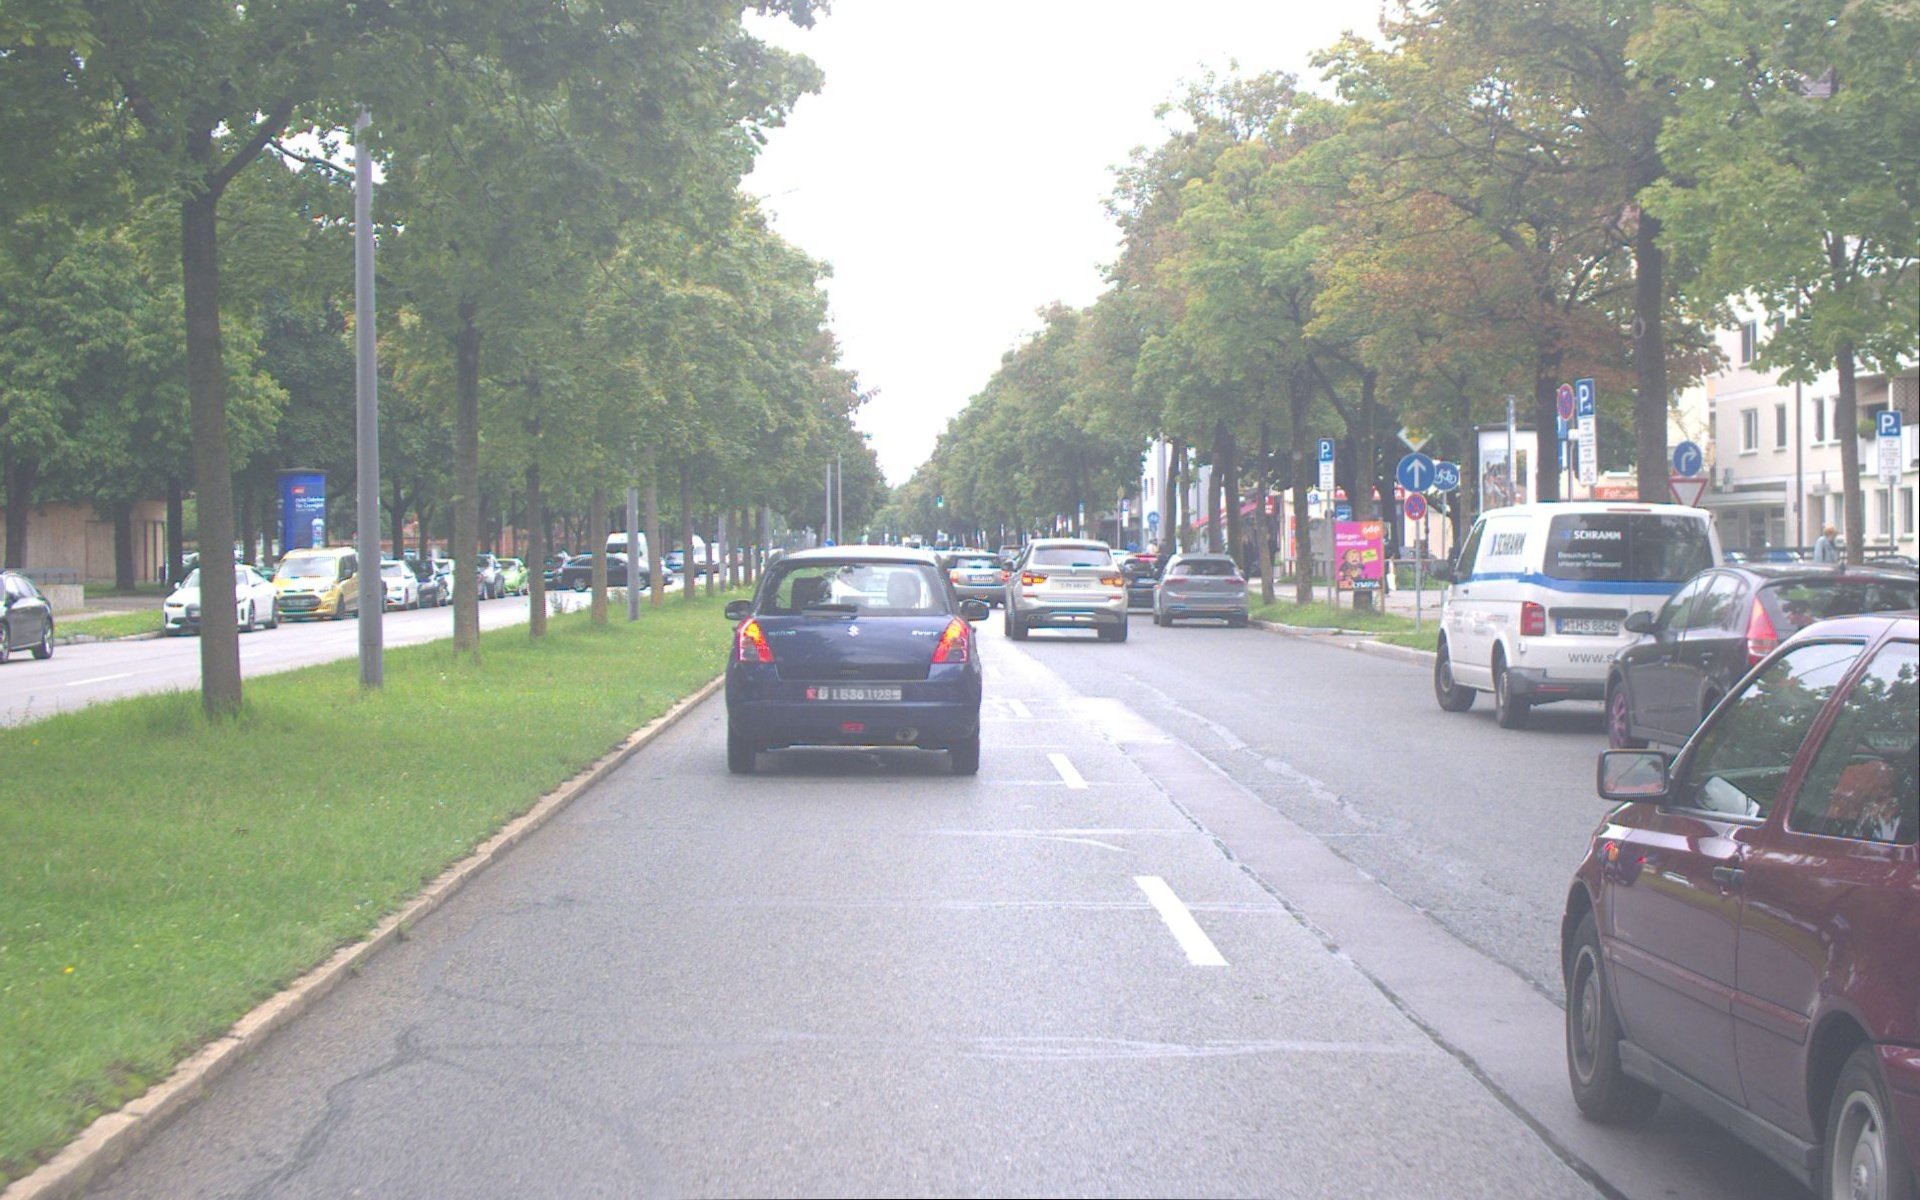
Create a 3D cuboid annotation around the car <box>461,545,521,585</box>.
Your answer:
[{"bbox_3d":[-17.658,-1.333,129.470,1.850,1.442,4.098,0,1,-2],"label":"car"}]

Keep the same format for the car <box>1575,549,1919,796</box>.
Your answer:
[{"bbox_3d":[5.641,0.426,24.003,1.684,1.548,4.307,0,1,-3],"label":"car"}]

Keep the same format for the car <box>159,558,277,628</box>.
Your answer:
[{"bbox_3d":[-16.161,-0.176,75.053,1.850,1.442,4.098,0,1,-2],"label":"car"}]

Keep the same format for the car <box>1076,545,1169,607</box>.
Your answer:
[{"bbox_3d":[3.875,-0.587,82.572,1.850,1.442,4.098,0,1,-2],"label":"car"}]

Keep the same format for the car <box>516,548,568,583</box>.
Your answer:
[{"bbox_3d":[-17.809,-1.482,146.575,1.850,1.442,4.098,0,1,-2],"label":"car"}]

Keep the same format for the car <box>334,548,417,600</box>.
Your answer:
[{"bbox_3d":[-16.781,-0.754,98.893,1.850,1.442,4.098,0,1,-2],"label":"car"}]

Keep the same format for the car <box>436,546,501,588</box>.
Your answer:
[{"bbox_3d":[-17.300,-1.173,121.171,1.850,1.442,4.098,0,1,-2],"label":"car"}]

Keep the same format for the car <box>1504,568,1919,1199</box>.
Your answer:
[{"bbox_3d":[2.394,0.669,7.726,1.622,1.449,3.950,0,1,-1],"label":"car"}]

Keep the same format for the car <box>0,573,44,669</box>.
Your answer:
[{"bbox_3d":[-15.727,0.323,53.800,1.850,1.442,4.098,0,1,-2],"label":"car"}]

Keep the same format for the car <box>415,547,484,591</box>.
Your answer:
[{"bbox_3d":[-17.147,-1.069,115.654,1.850,1.442,4.098,0,1,-2],"label":"car"}]

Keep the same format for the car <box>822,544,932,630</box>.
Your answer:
[{"bbox_3d":[-1.493,-0.259,60.247,1.850,1.442,4.098,0,1,-2],"label":"car"}]

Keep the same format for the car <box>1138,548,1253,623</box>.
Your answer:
[{"bbox_3d":[4.674,-0.319,68.732,1.850,1.442,4.098,0,1,-2],"label":"car"}]

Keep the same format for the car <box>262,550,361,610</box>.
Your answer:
[{"bbox_3d":[-16.156,-0.507,85.753,1.850,1.442,4.098,0,1,-2],"label":"car"}]

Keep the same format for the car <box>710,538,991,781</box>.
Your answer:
[{"bbox_3d":[-0.787,0.345,23.991,1.789,1.550,4.001,0,1,-2],"label":"car"}]

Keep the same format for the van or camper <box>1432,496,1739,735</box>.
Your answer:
[{"bbox_3d":[5.462,0.090,30.557,1.944,1.968,4.306,0,1,0],"label":"van or camper"}]

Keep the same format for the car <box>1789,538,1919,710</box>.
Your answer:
[{"bbox_3d":[9.514,0.184,33.792,1.684,1.580,4.028,0,1,-1],"label":"car"}]

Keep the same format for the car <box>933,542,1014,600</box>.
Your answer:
[{"bbox_3d":[0.311,-0.749,87.142,1.850,1.442,4.098,0,1,-2],"label":"car"}]

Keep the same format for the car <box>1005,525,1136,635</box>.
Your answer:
[{"bbox_3d":[1.781,-0.355,56.649,1.850,1.737,4.098,0,1,-2],"label":"car"}]
